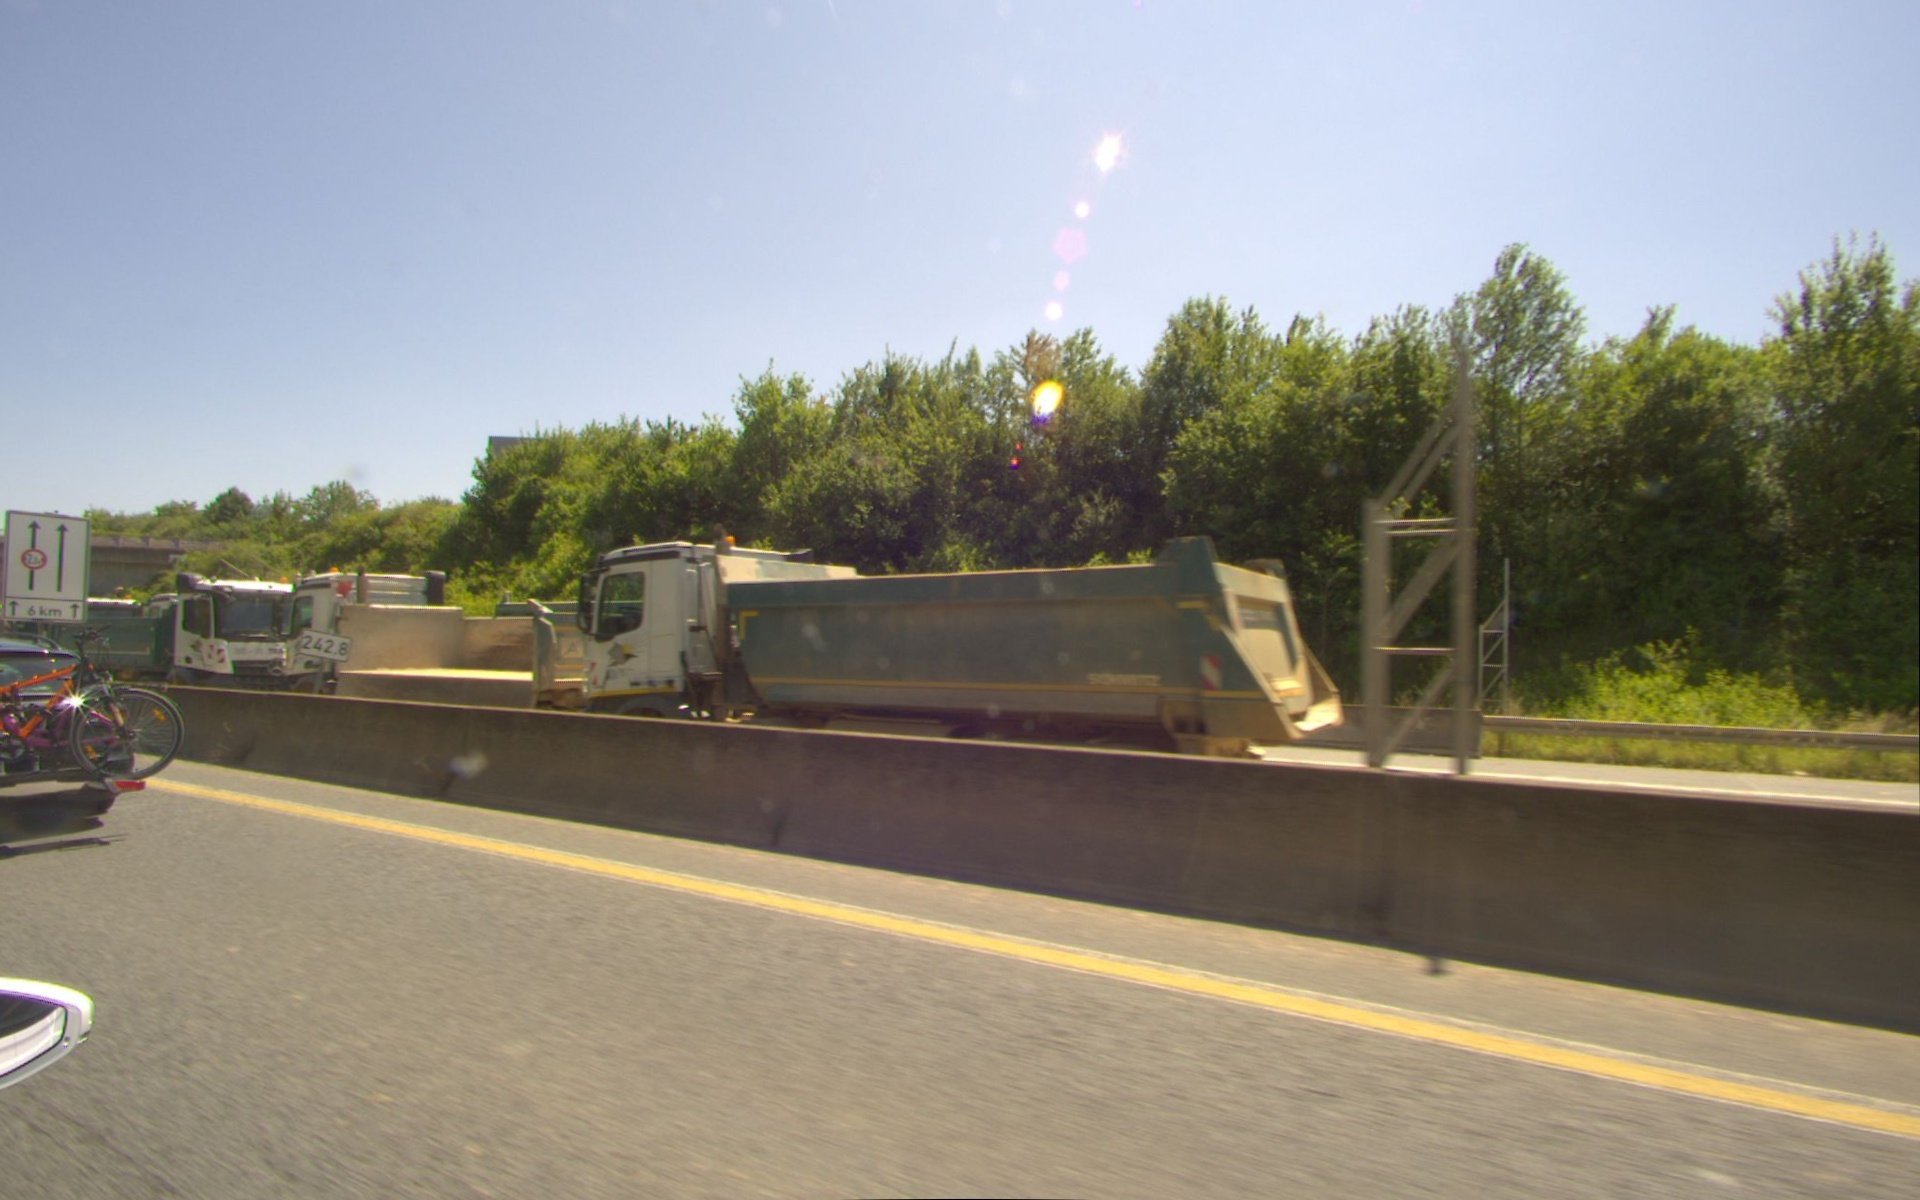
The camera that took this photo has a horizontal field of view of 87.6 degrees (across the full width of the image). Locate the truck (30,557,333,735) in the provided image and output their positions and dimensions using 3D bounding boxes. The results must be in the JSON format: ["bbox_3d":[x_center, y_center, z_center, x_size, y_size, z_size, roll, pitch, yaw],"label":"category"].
[{"bbox_3d":[-18.769,1.019,23.867,9.463,3.602,2.535,-1,-2,32],"label":"truck"}]

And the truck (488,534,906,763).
[{"bbox_3d":[-5.168,0.846,18.893,8.258,3.555,2.683,-1,-2,32],"label":"truck"}]

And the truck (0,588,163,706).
[{"bbox_3d":[-30.949,1.547,34.261,9.463,3.602,2.683,-1,-2,32],"label":"truck"}]

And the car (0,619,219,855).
[{"bbox_3d":[-8.056,0.931,7.935,4.877,1.509,1.896,-1,-3,33],"label":"car"}]

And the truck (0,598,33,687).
[{"bbox_3d":[-41.222,1.667,40.860,9.466,3.420,2.683,-1,-2,33],"label":"truck"}]

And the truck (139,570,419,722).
[{"bbox_3d":[-18.774,1.190,27.332,9.464,3.602,2.683,-1,-2,32],"label":"truck"}]

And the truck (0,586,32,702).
[{"bbox_3d":[-34.120,1.384,33.049,9.464,3.602,2.683,-1,-2,32],"label":"truck"}]

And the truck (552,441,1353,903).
[{"bbox_3d":[-0.583,0.642,11.161,8.965,3.555,2.530,-1,-2,32],"label":"truck"}]

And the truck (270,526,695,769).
[{"bbox_3d":[-8.873,0.792,18.075,8.814,3.555,2.530,-1,-2,32],"label":"truck"}]
